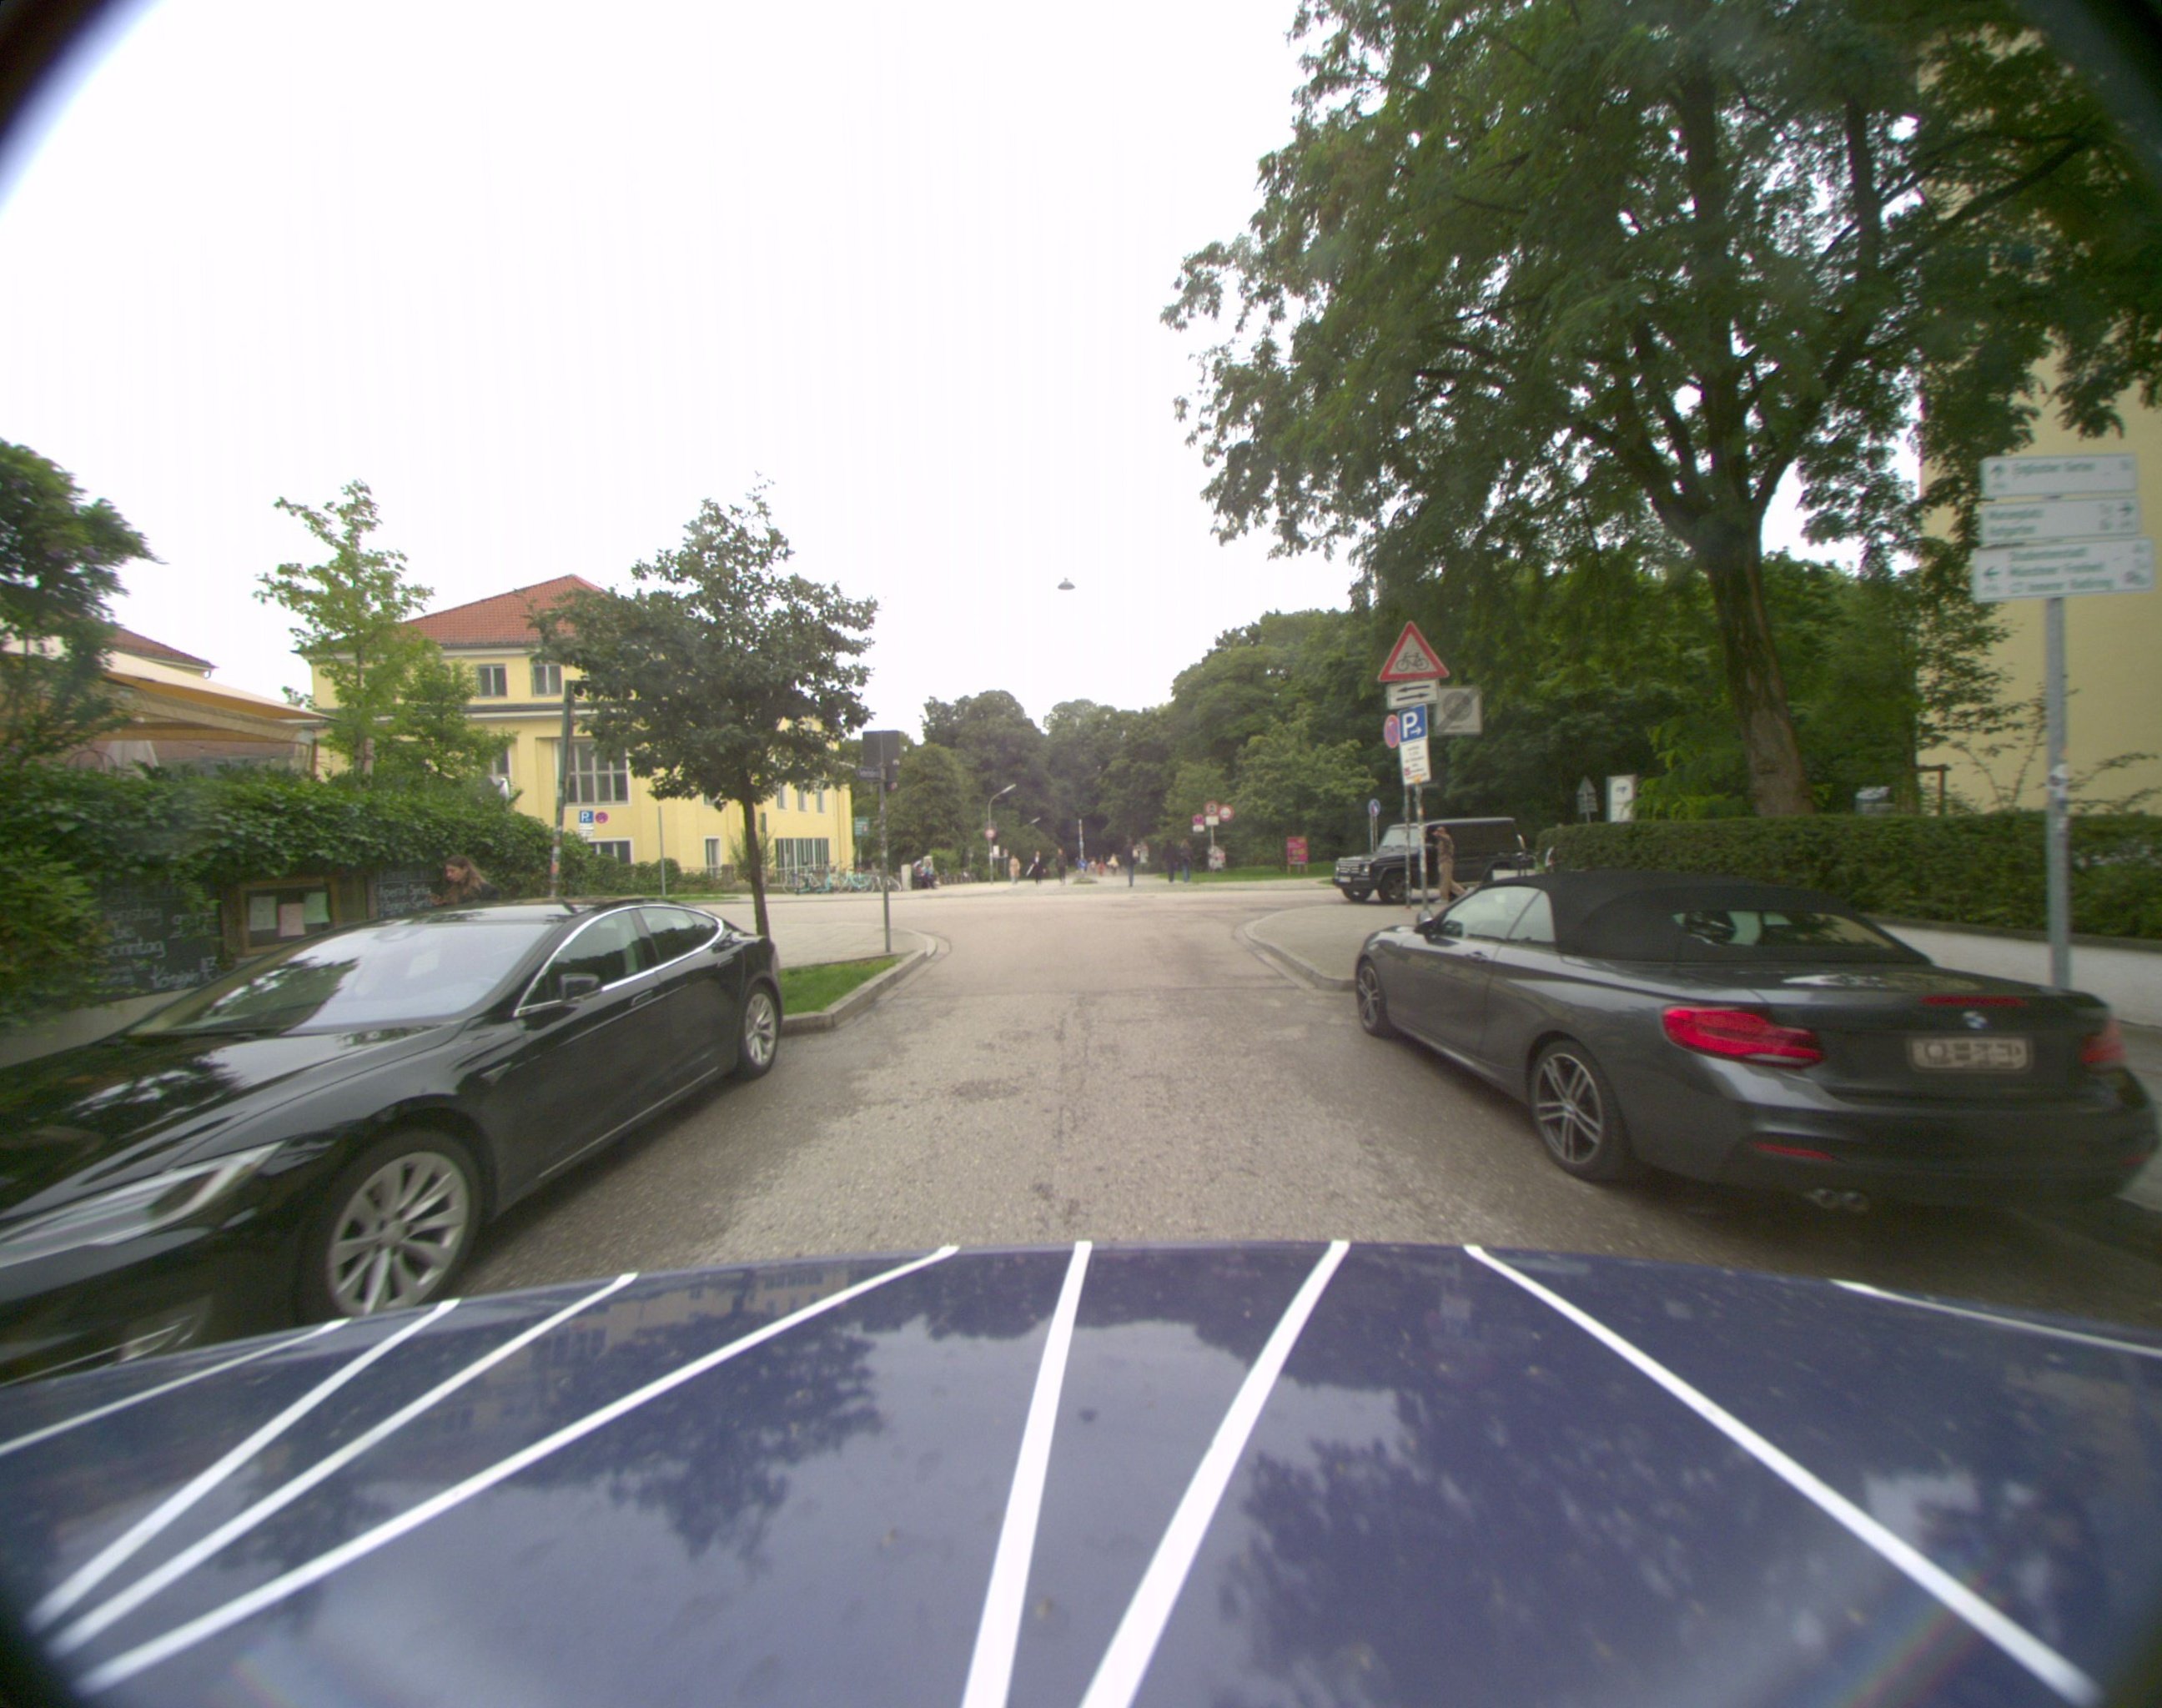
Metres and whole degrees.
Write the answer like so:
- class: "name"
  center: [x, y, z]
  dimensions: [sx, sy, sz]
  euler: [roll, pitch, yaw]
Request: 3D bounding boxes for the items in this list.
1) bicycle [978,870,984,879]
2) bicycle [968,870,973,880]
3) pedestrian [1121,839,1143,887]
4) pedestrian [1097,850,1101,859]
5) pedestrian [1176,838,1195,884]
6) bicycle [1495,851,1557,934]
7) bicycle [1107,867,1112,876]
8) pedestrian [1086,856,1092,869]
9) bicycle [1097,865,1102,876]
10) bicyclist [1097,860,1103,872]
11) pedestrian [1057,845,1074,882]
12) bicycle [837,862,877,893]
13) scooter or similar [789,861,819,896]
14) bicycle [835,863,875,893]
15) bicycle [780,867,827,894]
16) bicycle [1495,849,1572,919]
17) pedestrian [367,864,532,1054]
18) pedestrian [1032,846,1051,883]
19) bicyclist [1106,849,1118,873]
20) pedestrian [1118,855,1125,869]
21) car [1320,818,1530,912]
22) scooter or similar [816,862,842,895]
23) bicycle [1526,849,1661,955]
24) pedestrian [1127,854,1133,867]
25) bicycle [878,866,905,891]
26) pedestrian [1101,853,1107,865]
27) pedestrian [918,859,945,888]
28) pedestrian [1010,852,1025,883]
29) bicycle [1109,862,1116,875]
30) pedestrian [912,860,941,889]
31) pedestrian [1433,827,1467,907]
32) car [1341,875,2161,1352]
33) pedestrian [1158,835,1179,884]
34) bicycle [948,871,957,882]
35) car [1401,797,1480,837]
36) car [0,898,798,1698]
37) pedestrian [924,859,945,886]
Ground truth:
- class: "bicycle"
  center: [-7.440, 1.507, 56.566]
  dimensions: [0.242, 0.653, 0.909]
  euler: [0, -1, 1]
- class: "bicycle"
  center: [-7.554, 1.459, 51.982]
  dimensions: [0.215, 0.672, 0.909]
  euler: [0, -1, 3]
- class: "pedestrian"
  center: [1.963, 0.345, 29.417]
  dimensions: [0.751, 1.822, 1.115]
  euler: [-1, 0, 1]
- class: "pedestrian"
  center: [2.456, 0.083, 104.586]
  dimensions: [0.471, 1.259, 0.448]
  euler: [-2, 4, 1]
- class: "pedestrian"
  center: [4.101, 0.289, 29.829]
  dimensions: [0.634, 1.771, 0.801]
  euler: [-1, 0, 1]
- class: "bicycle"
  center: [7.086, 0.569, 12.184]
  dimensions: [0.582, 1.120, 2.301]
  euler: [-3, 1, 24]
- class: "bicycle"
  center: [3.289, 2.015, 87.717]
  dimensions: [0.464, 1.053, 1.762]
  euler: [-2, -1, 1]
- class: "pedestrian"
  center: [1.094, 1.161, 105.182]
  dimensions: [0.686, 1.662, 0.774]
  euler: [-4, -1, 1]
- class: "bicycle"
  center: [2.056, 1.783, 83.187]
  dimensions: [0.464, 1.054, 1.760]
  euler: [-2, 3, 1]
- class: "bicyclist"
  center: [2.051, 1.314, 83.043]
  dimensions: [0.564, 1.259, 0.761]
  euler: [-2, 4, 1]
- class: "pedestrian"
  center: [-0.728, 0.453, 35.125]
  dimensions: [0.639, 1.662, 0.774]
  euler: [-4, -1, 1]
- class: "bicycle"
  center: [-8.810, 0.925, 29.947]
  dimensions: [0.169, 1.191, 1.658]
  euler: [-1, -1, 42]
- class: "scooter or similar"
  center: [-10.183, 0.898, 27.980]
  dimensions: [0.396, 1.240, 1.391]
  euler: [-2, 0, 9]
- class: "bicycle"
  center: [-8.948, 0.935, 30.089]
  dimensions: [0.202, 1.184, 1.658]
  euler: [-1, -1, 42]
- class: "bicycle"
  center: [-10.539, 1.012, 28.886]
  dimensions: [1.656, 0.987, 0.248]
  euler: [0, 0, -24]
- class: "bicycle"
  center: [8.371, 0.523, 14.021]
  dimensions: [1.955, 1.150, 0.582]
  euler: [-3, 0, -40]
- class: "pedestrian"
  center: [-5.892, 0.939, 7.153]
  dimensions: [0.706, 1.614, 0.880]
  euler: [-2, 3, -1]
- class: "pedestrian"
  center: [-1.819, 0.502, 34.984]
  dimensions: [0.686, 1.662, 0.774]
  euler: [-4, -1, 1]
- class: "bicyclist"
  center: [2.511, 0.557, 60.928]
  dimensions: [0.856, 1.792, 0.766]
  euler: [-3, 2, 1]
- class: "pedestrian"
  center: [5.093, 1.003, 95.183]
  dimensions: [0.686, 1.662, 0.774]
  euler: [-4, -1, 1]
- class: "car"
  center: [8.388, 0.203, 18.622]
  dimensions: [4.422, 1.990, 1.933]
  euler: [-3, 3, -14]
- class: "scooter or similar"
  center: [-9.336, 0.895, 28.111]
  dimensions: [1.114, 1.206, 0.324]
  euler: [-2, 0, 37]
- class: "bicycle"
  center: [6.613, 0.567, 9.930]
  dimensions: [0.563, 1.203, 1.854]
  euler: [-3, 1, 3]
- class: "pedestrian"
  center: [6.451, 0.840, 100.426]
  dimensions: [0.686, 1.662, 0.774]
  euler: [-4, -1, 1]
- class: "bicycle"
  center: [-7.934, 1.028, 31.860]
  dimensions: [0.307, 1.032, 1.656]
  euler: [0, -1, 15]
- class: "pedestrian"
  center: [3.206, 0.674, 105.147]
  dimensions: [0.686, 1.662, 0.774]
  euler: [-4, -1, 1]
- class: "pedestrian"
  center: [-7.015, 0.905, 35.650]
  dimensions: [1.178, 1.285, 0.639]
  euler: [-3, -1, -10]
- class: "pedestrian"
  center: [-3.620, 0.779, 43.666]
  dimensions: [0.653, 1.676, 0.976]
  euler: [-4, -1, 1]
- class: "bicycle"
  center: [2.557, 1.152, 61.069]
  dimensions: [0.483, 1.035, 1.946]
  euler: [-2, 0, 3]
- class: "pedestrian"
  center: [-7.041, 0.920, 34.707]
  dimensions: [1.217, 1.240, 0.639]
  euler: [-3, -2, -10]
- class: "pedestrian"
  center: [8.479, 0.292, 17.466]
  dimensions: [0.560, 1.788, 0.641]
  euler: [-2, 0, 18]
- class: "car"
  center: [3.119, 0.917, 4.549]
  dimensions: [1.750, 1.402, 4.097]
  euler: [-1, 1, 0]
- class: "pedestrian"
  center: [3.420, 0.232, 29.865]
  dimensions: [0.707, 1.892, 0.804]
  euler: [-1, 0, 1]
- class: "bicycle"
  center: [-7.606, 1.342, 45.028]
  dimensions: [0.215, 0.672, 0.910]
  euler: [0, -1, 12]
- class: "car"
  center: [21.226, -2.188, 44.878]
  dimensions: [3.958, 2.093, 1.908]
  euler: [-2, 2, 31]
- class: "car"
  center: [-3.227, 1.126, 3.744]
  dimensions: [1.807, 1.402, 4.656]
  euler: [-3, 1, 1]
- class: "pedestrian"
  center: [-6.991, 0.907, 36.302]
  dimensions: [0.887, 1.227, 0.550]
  euler: [-3, -1, -10]
